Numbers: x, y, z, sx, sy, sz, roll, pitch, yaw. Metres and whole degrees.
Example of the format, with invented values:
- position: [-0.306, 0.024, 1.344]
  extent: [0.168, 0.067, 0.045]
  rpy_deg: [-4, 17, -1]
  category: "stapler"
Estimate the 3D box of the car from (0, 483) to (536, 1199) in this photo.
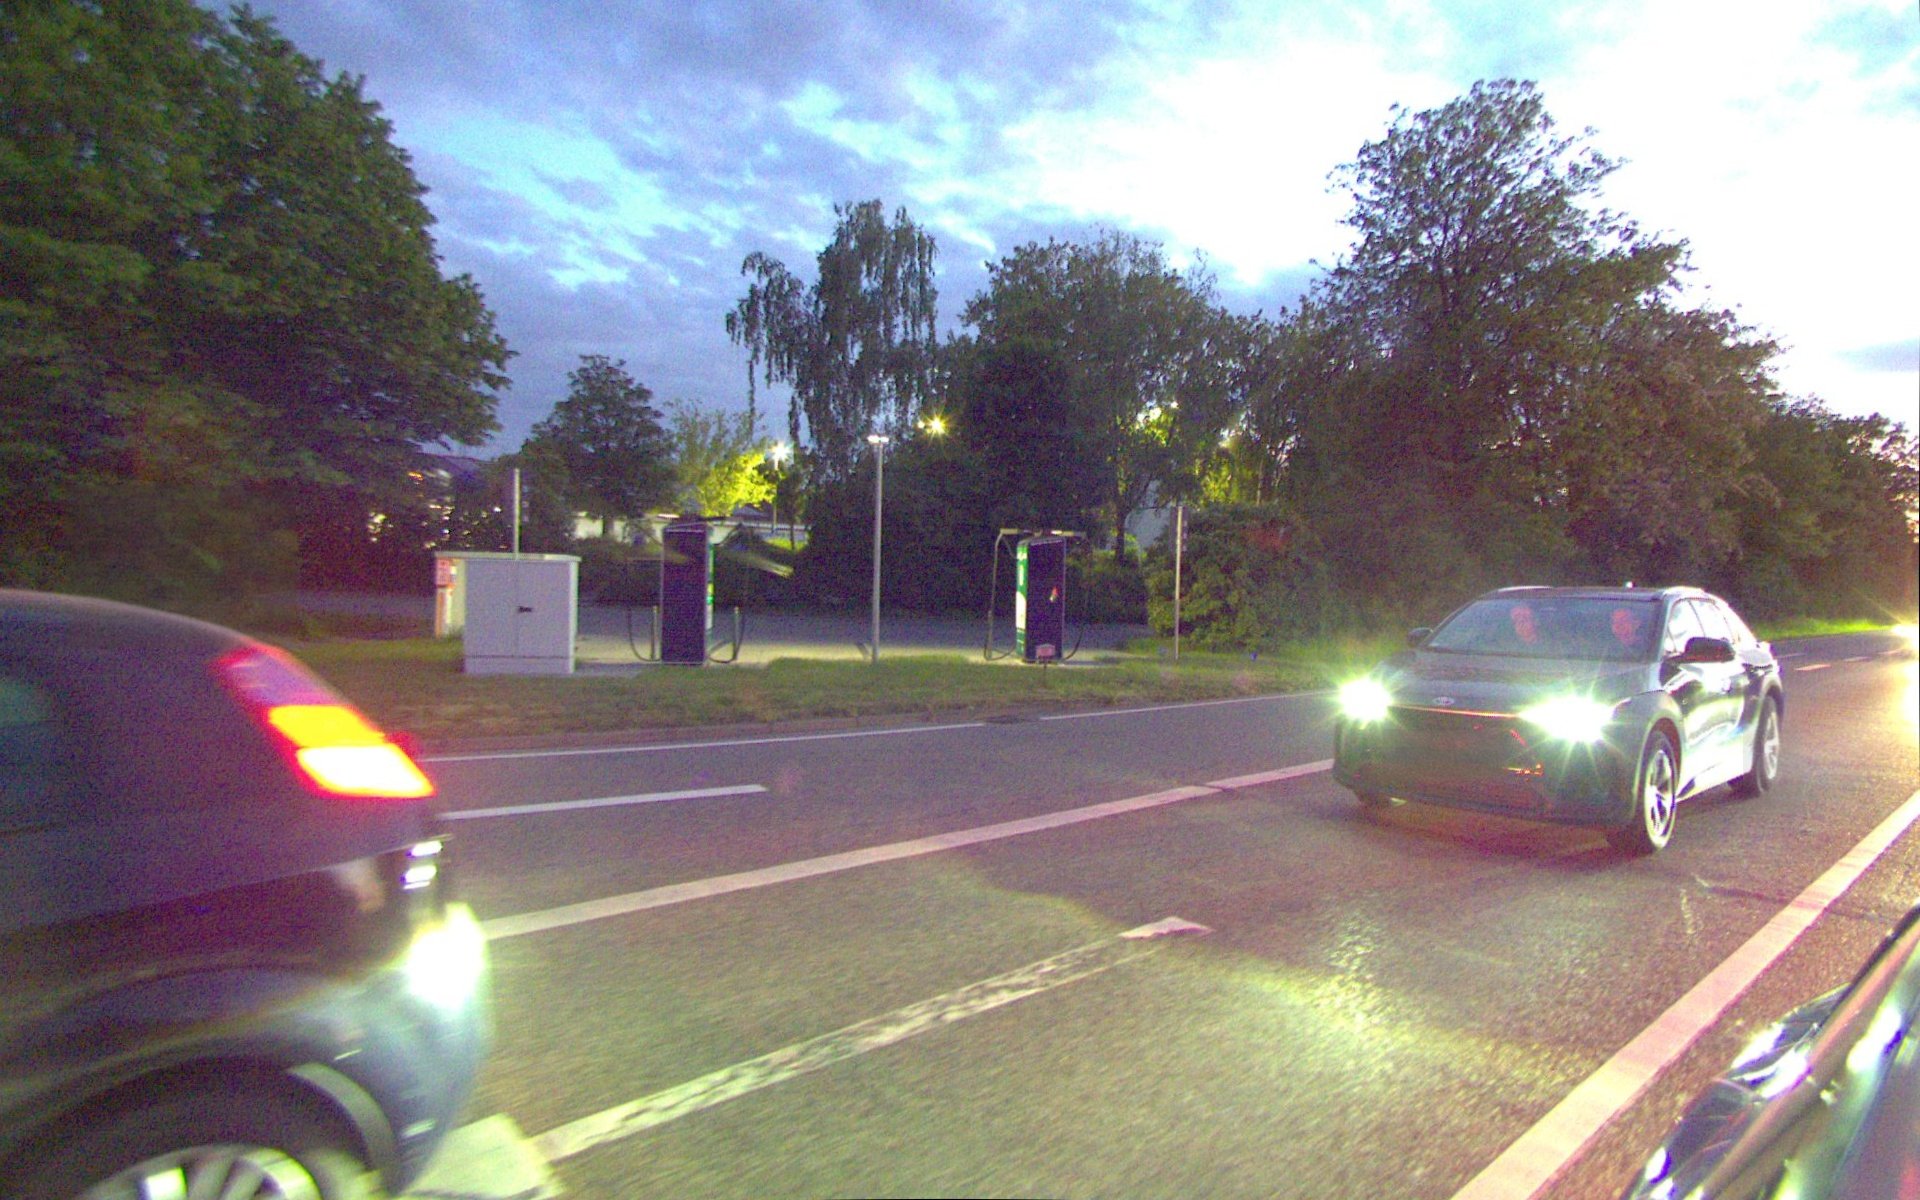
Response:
- position: [-2.929, 0.582, 1.389]
  extent: [4.032, 1.540, 1.674]
  rpy_deg: [0, 1, -39]
  category: "car"

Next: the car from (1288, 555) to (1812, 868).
- position: [4.597, 0.569, 7.545]
  extent: [4.629, 1.630, 1.997]
  rpy_deg: [0, 0, -41]
  category: "car"
